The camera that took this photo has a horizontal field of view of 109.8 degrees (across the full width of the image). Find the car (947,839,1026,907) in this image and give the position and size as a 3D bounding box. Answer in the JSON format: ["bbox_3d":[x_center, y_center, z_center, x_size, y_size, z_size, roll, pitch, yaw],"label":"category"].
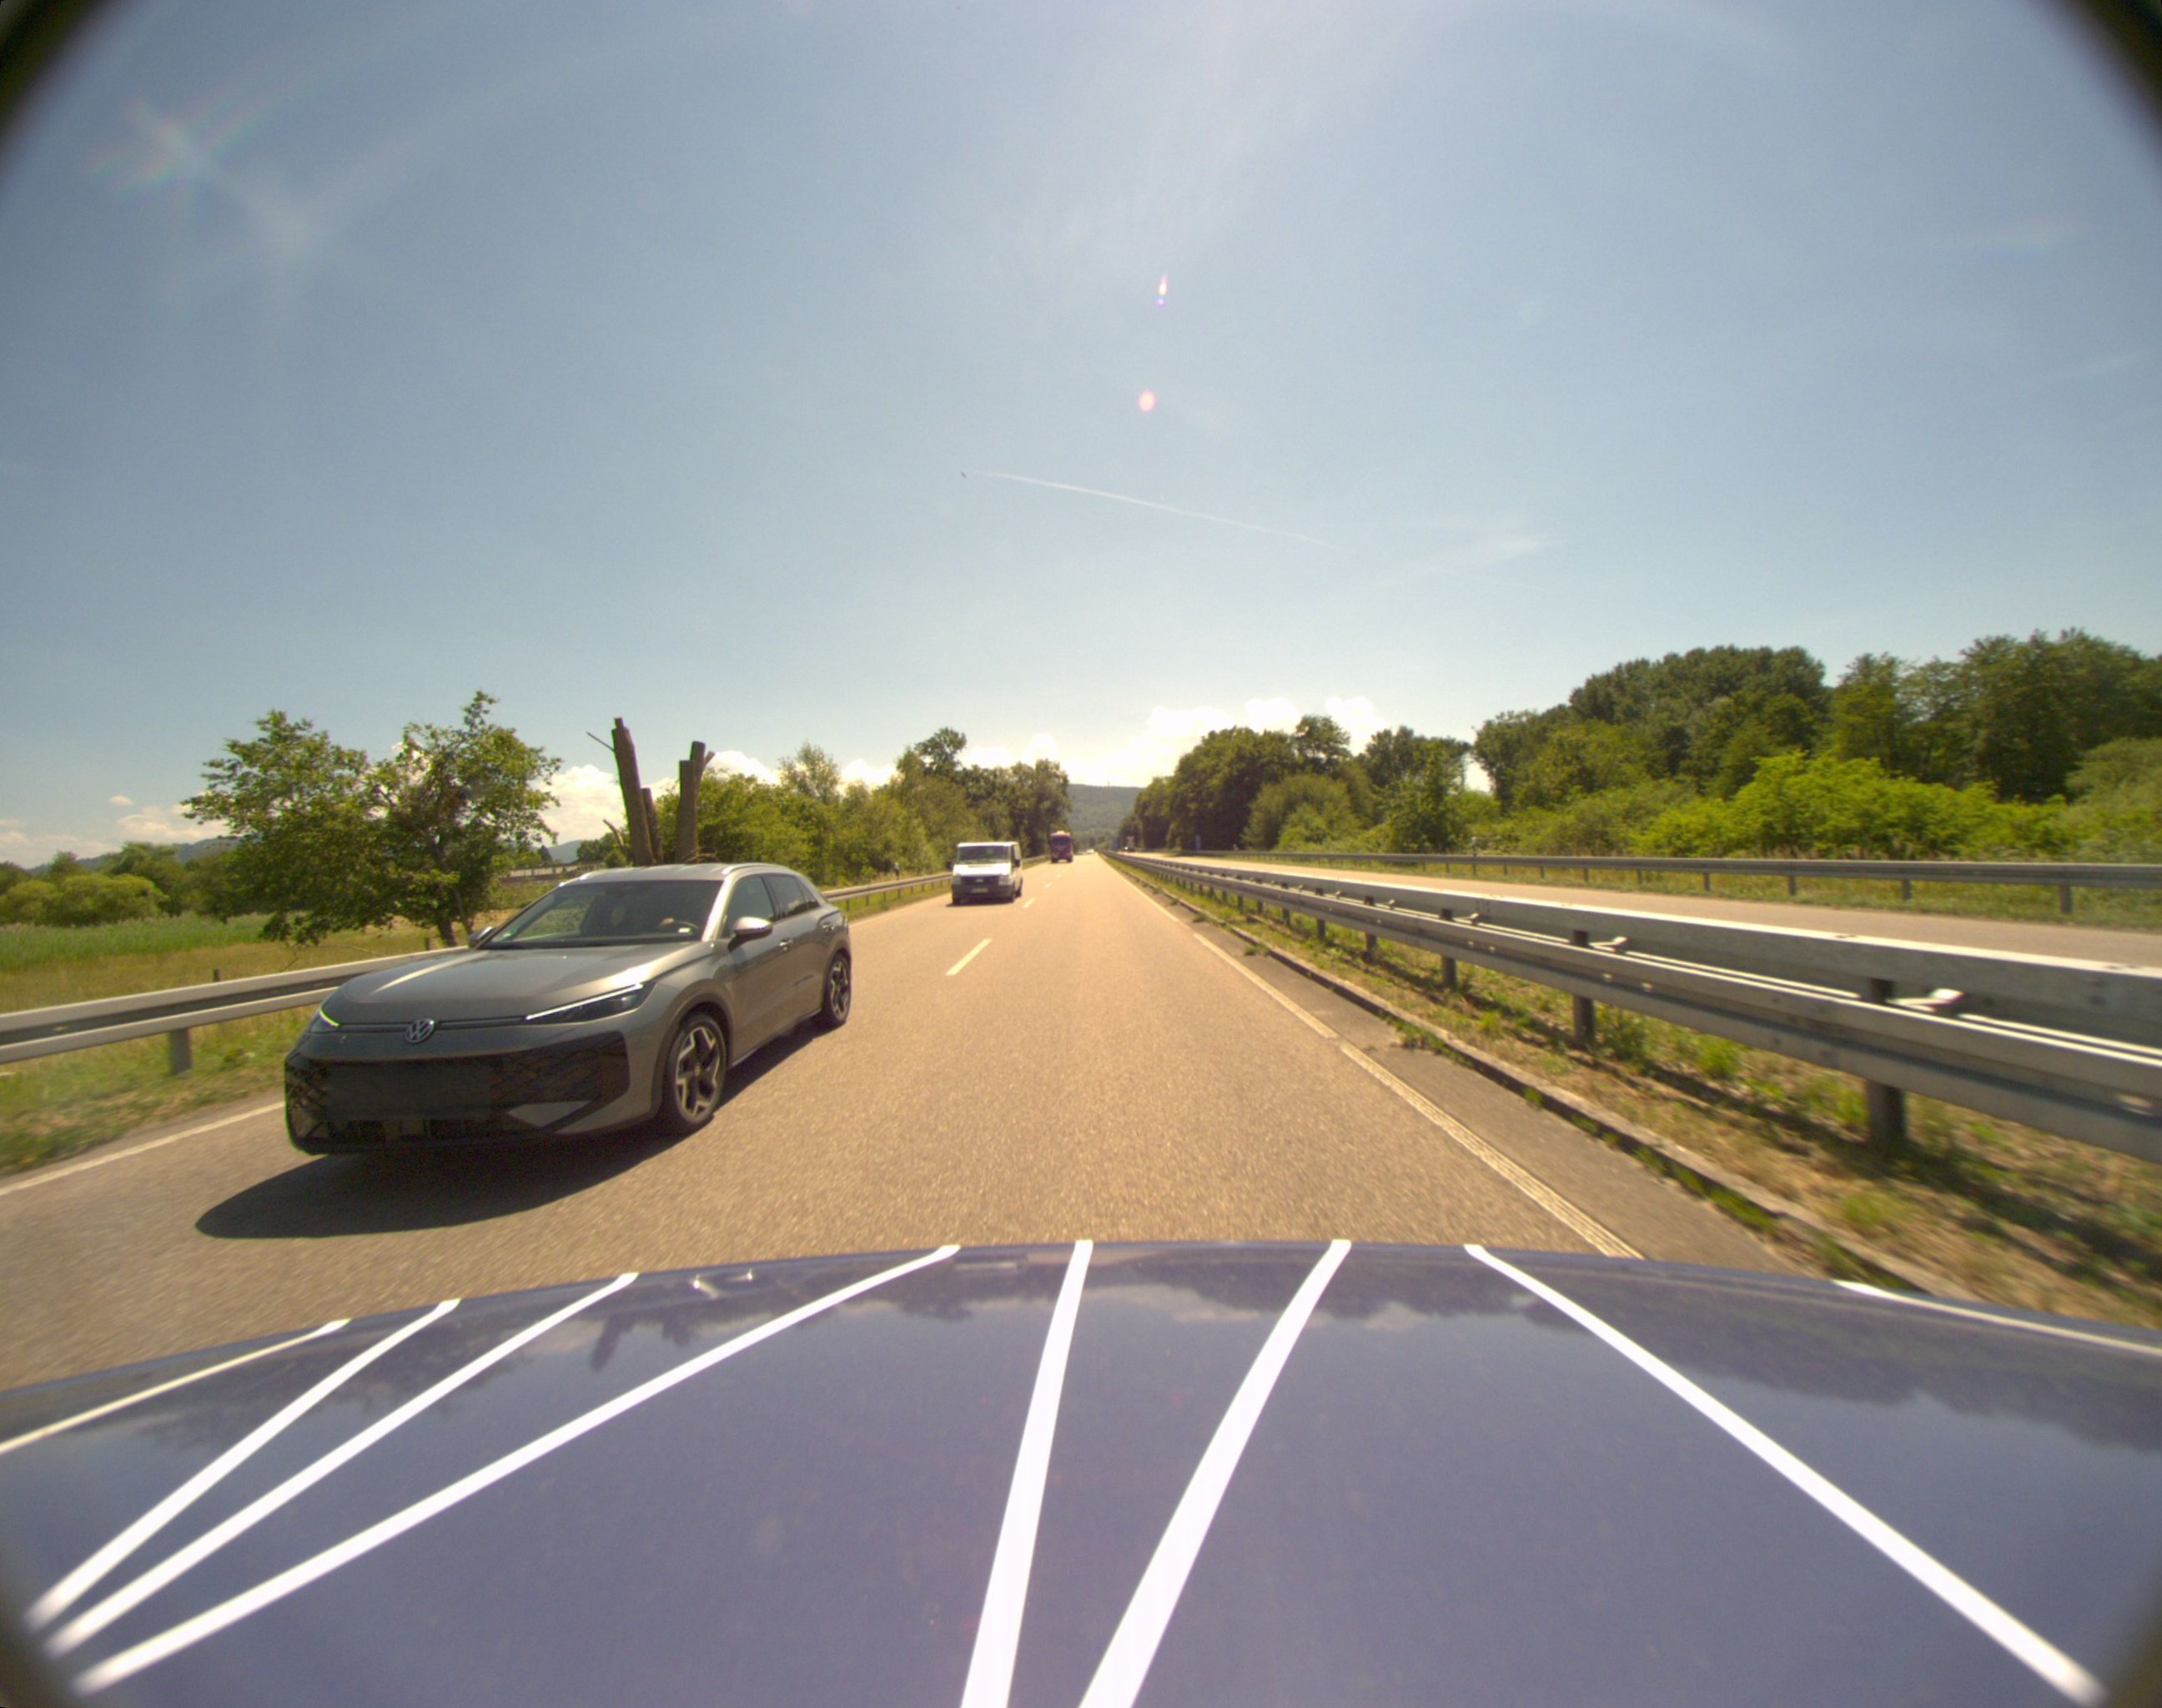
[{"bbox_3d":[-3.070,0.580,25.761,2.011,1.977,5.034,-3,0,-1],"label":"car"}]

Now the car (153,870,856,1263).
[{"bbox_3d":[-3.082,0.963,5.299,1.789,1.544,4.019,-2,0,0],"label":"car"}]

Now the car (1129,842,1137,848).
[{"bbox_3d":[13.141,-2.317,192.541,1.802,1.459,3.773,-3,1,2],"label":"car"}]

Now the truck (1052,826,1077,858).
[{"bbox_3d":[-1.971,-1.409,93.273,2.605,3.670,5.939,-5,0,0],"label":"truck"}]

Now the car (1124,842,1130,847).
[{"bbox_3d":[13.847,-2.849,229.990,1.780,1.411,4.575,-3,1,2],"label":"car"}]

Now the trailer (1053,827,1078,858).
[{"bbox_3d":[-1.919,-1.396,97.994,2.605,3.608,8.614,-5,0,0],"label":"trailer"}]
